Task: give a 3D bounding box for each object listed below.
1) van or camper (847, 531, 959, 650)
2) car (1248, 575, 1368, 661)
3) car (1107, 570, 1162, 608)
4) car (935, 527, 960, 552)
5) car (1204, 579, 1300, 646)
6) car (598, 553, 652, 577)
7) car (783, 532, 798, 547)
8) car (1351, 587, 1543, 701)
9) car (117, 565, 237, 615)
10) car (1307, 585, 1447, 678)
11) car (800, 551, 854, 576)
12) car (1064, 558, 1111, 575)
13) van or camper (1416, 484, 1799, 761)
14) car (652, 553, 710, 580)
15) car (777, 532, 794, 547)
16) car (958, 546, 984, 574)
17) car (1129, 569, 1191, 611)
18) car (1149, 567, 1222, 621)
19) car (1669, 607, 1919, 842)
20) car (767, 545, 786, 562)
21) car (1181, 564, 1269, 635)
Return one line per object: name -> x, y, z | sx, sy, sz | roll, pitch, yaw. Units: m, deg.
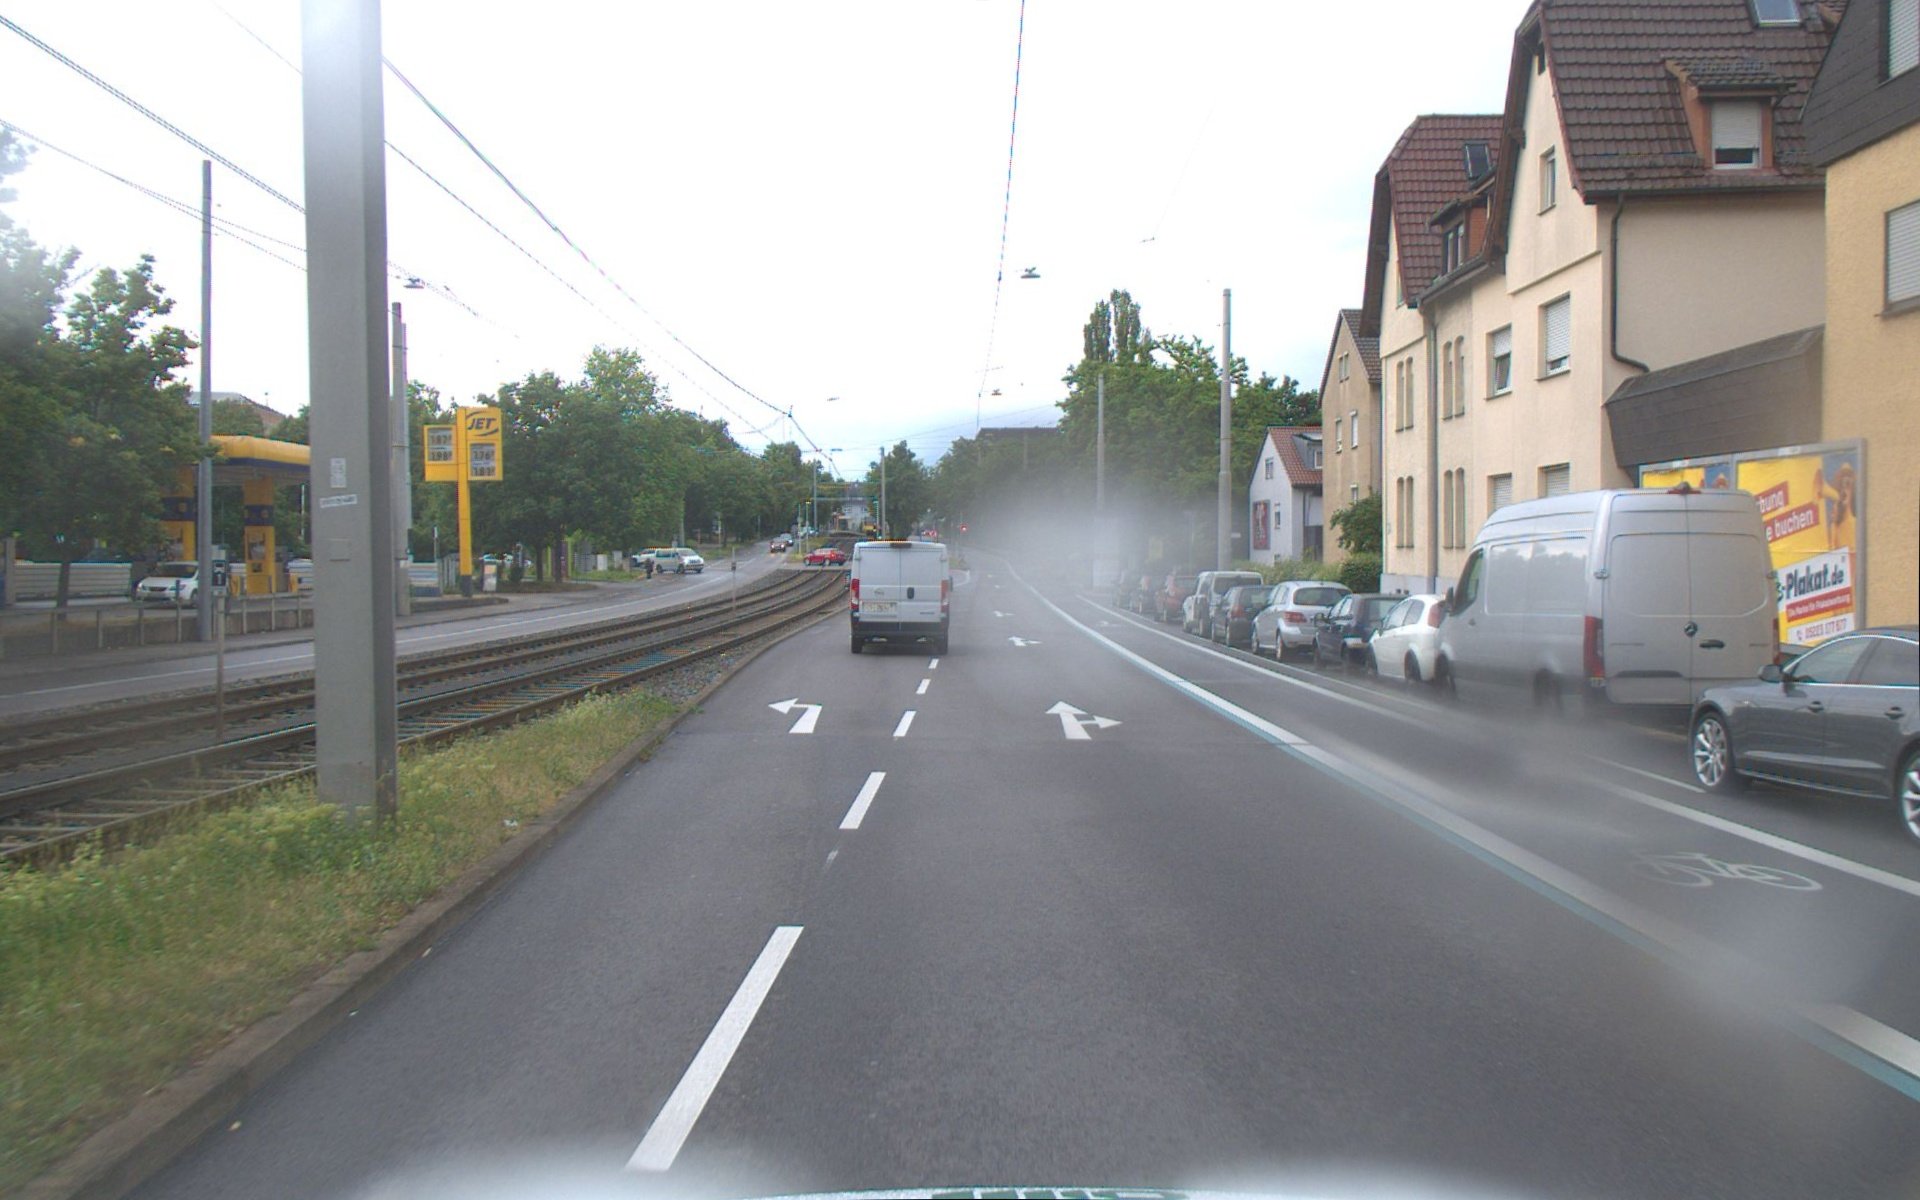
van or camper -> -1.254, -0.197, 34.823 | 2.155, 2.292, 4.681 | 1, 0, -3
car -> 7.221, 0.326, 34.712 | 1.612, 1.643, 4.104 | 1, 1, 0
car -> 7.297, -0.484, 69.459 | 1.810, 1.526, 3.953 | 1, 1, -1
car -> -1.141, -5.344, 146.195 | 1.954, 2.049, 3.997 | 1, 0, -3
car -> 7.050, 0.268, 40.250 | 1.612, 1.471, 3.954 | 1, 1, 0
car -> -30.423, -3.181, 150.268 | 4.420, 2.049, 2.000 | 1, 0, 22
car -> -25.217, -8.936, 246.186 | 1.953, 2.049, 3.999 | 1, 0, -1
car -> 7.160, 0.582, 24.700 | 1.673, 1.471, 4.041 | 1, 1, 0
car -> -24.598, -0.306, 52.088 | 1.953, 1.467, 3.998 | 1, 0, -2
car -> 7.323, 0.505, 29.341 | 1.592, 1.473, 3.708 | 1, 1, 1
car -> -11.374, -3.111, 140.975 | 4.443, 2.049, 1.990 | 1, 0, 40
car -> 11.192, -2.948, 145.242 | 4.082, 1.502, 1.668 | -1, 1, 6
van or camper -> 7.031, 0.142, 18.852 | 1.953, 2.608, 6.043 | 1, 1, 0
car -> -22.316, -2.675, 132.375 | 4.434, 2.049, 1.994 | 1, 0, 34
car -> -21.450, -7.428, 203.399 | 1.656, 1.602, 3.775 | 1, 0, -2
car -> 0.847, -3.042, 127.772 | 1.953, 2.049, 4.000 | 1, 0, 0
car -> 7.625, -0.394, 63.412 | 1.810, 1.526, 3.953 | 1, 1, -1
car -> 7.538, -0.227, 55.561 | 1.810, 1.674, 3.954 | 1, 2, -1
car -> 6.961, 0.833, 11.663 | 1.753, 1.430, 4.550 | 1, 1, -3
car -> -20.013, -5.050, 180.499 | 1.656, 1.741, 3.775 | 1, 0, -2
car -> 7.266, -0.062, 45.720 | 1.711, 1.839, 3.954 | 1, 2, -1
